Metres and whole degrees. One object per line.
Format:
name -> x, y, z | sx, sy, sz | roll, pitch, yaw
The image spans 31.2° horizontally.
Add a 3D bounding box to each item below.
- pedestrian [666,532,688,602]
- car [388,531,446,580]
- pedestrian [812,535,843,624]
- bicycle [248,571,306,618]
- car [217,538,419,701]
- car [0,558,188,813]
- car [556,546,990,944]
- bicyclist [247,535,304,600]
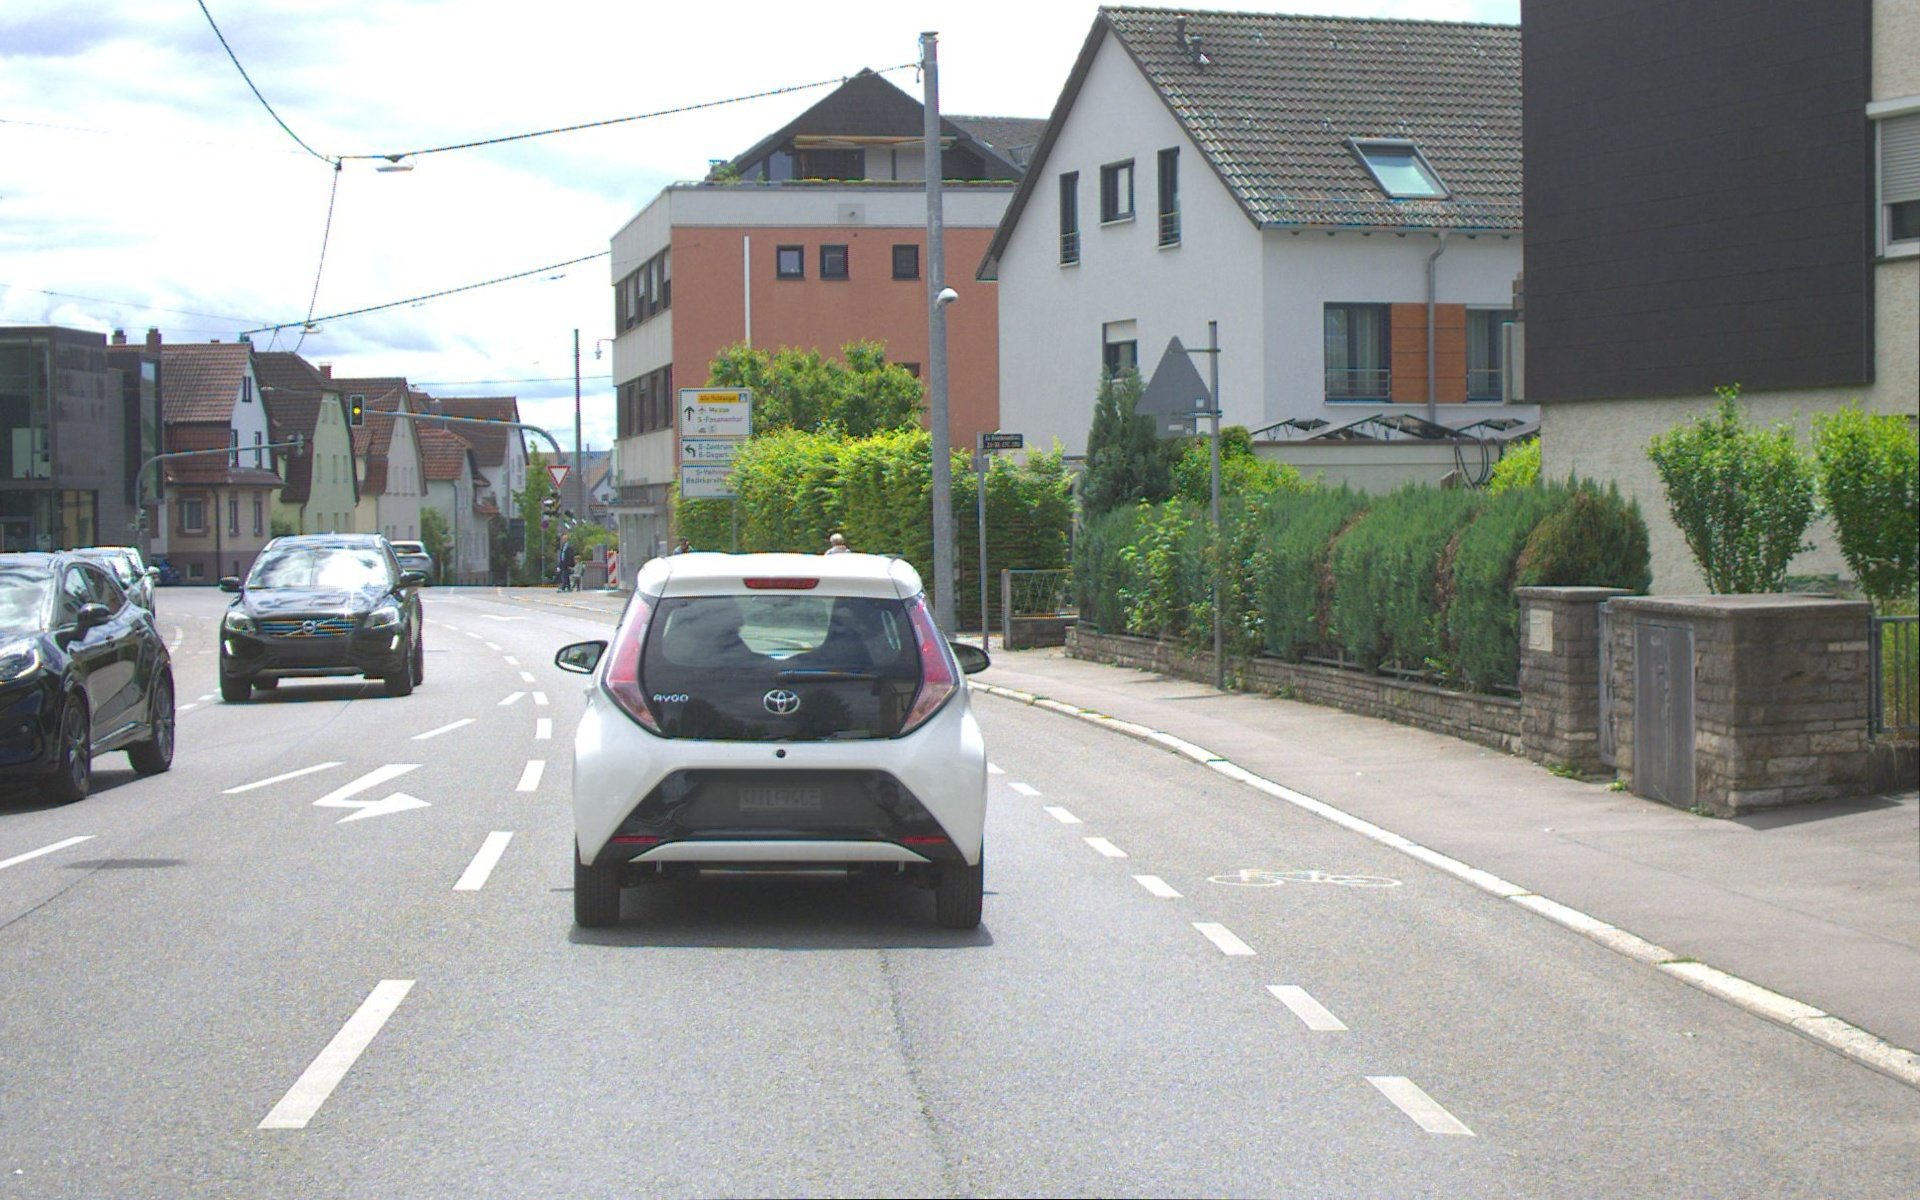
pedestrian -> -5.840, -0.678, 71.013 | 0.413, 1.433, 0.438 | 0, 1, -9
car -> -19.463, -1.600, 123.263 | 1.993, 1.678, 4.001 | 1, 1, -9
pedestrian -> -2.136, -0.332, 55.497 | 0.413, 1.433, 0.438 | 0, 1, -13
bicycle -> -14.848, -0.130, 74.688 | 1.114, 0.933, 3.789 | -3, 1, -12
car -> -6.616, 0.161, 35.761 | 1.774, 1.547, 4.010 | -2, 1, -7
car -> -6.154, 0.502, 21.633 | 1.775, 1.425, 4.009 | -3, 1, -2
car -> -0.916, 0.520, 14.868 | 1.620, 1.481, 4.001 | 0, 1, -6
bicyclist -> -14.853, -0.708, 74.590 | 1.114, 1.331, 1.633 | -3, 1, -12
